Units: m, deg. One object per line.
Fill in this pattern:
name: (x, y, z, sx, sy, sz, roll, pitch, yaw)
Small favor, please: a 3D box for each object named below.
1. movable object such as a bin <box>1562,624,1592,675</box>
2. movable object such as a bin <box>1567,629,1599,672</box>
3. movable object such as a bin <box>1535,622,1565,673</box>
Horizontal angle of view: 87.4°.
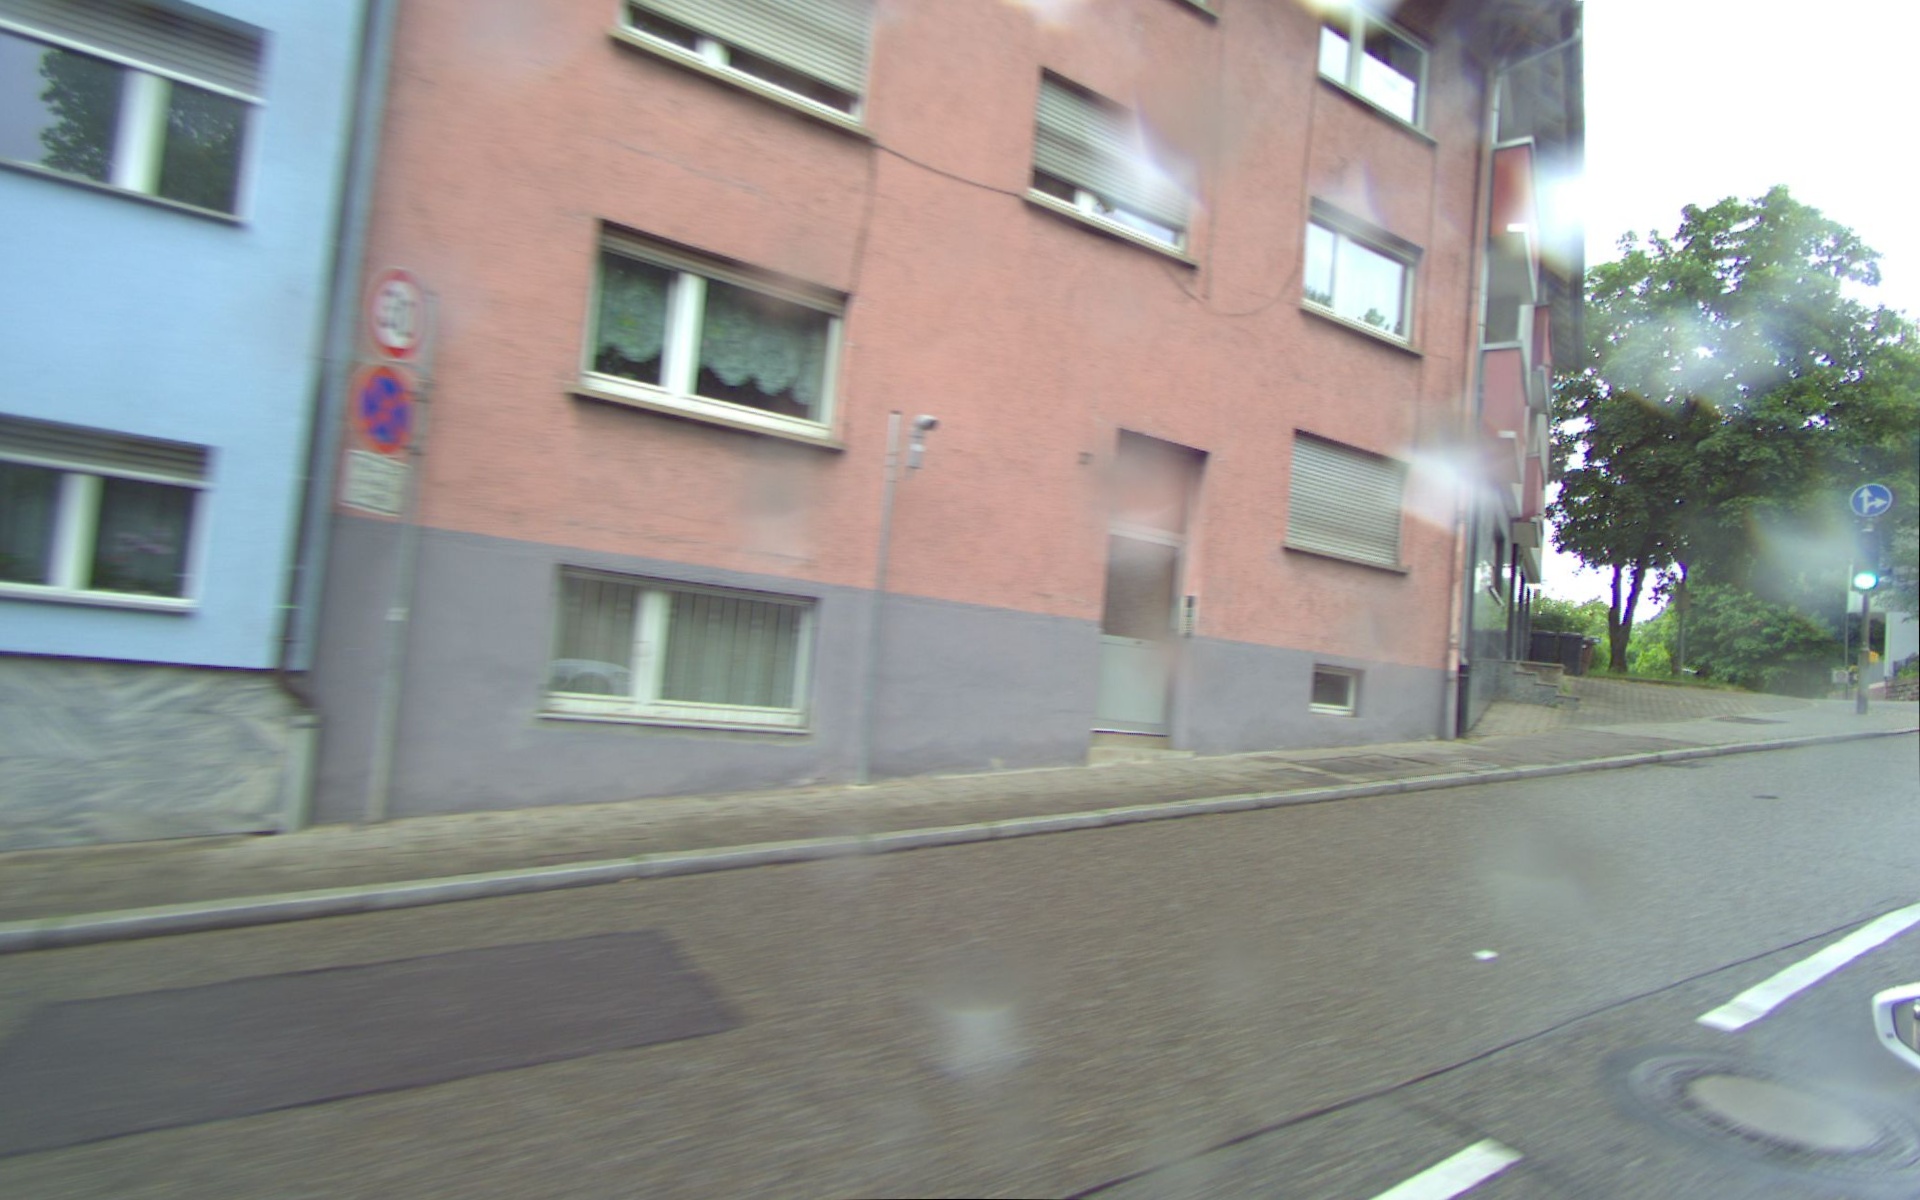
movable object such as a bin: (15.264, 1.212, 24.833, 0.552, 1.215, 0.687, 3, -1, 34)
movable object such as a bin: (15.689, 1.265, 25.307, 0.619, 1.029, 0.499, 3, -1, 35)
movable object such as a bin: (14.780, 1.189, 25.146, 0.552, 1.215, 0.687, 3, -1, 34)
